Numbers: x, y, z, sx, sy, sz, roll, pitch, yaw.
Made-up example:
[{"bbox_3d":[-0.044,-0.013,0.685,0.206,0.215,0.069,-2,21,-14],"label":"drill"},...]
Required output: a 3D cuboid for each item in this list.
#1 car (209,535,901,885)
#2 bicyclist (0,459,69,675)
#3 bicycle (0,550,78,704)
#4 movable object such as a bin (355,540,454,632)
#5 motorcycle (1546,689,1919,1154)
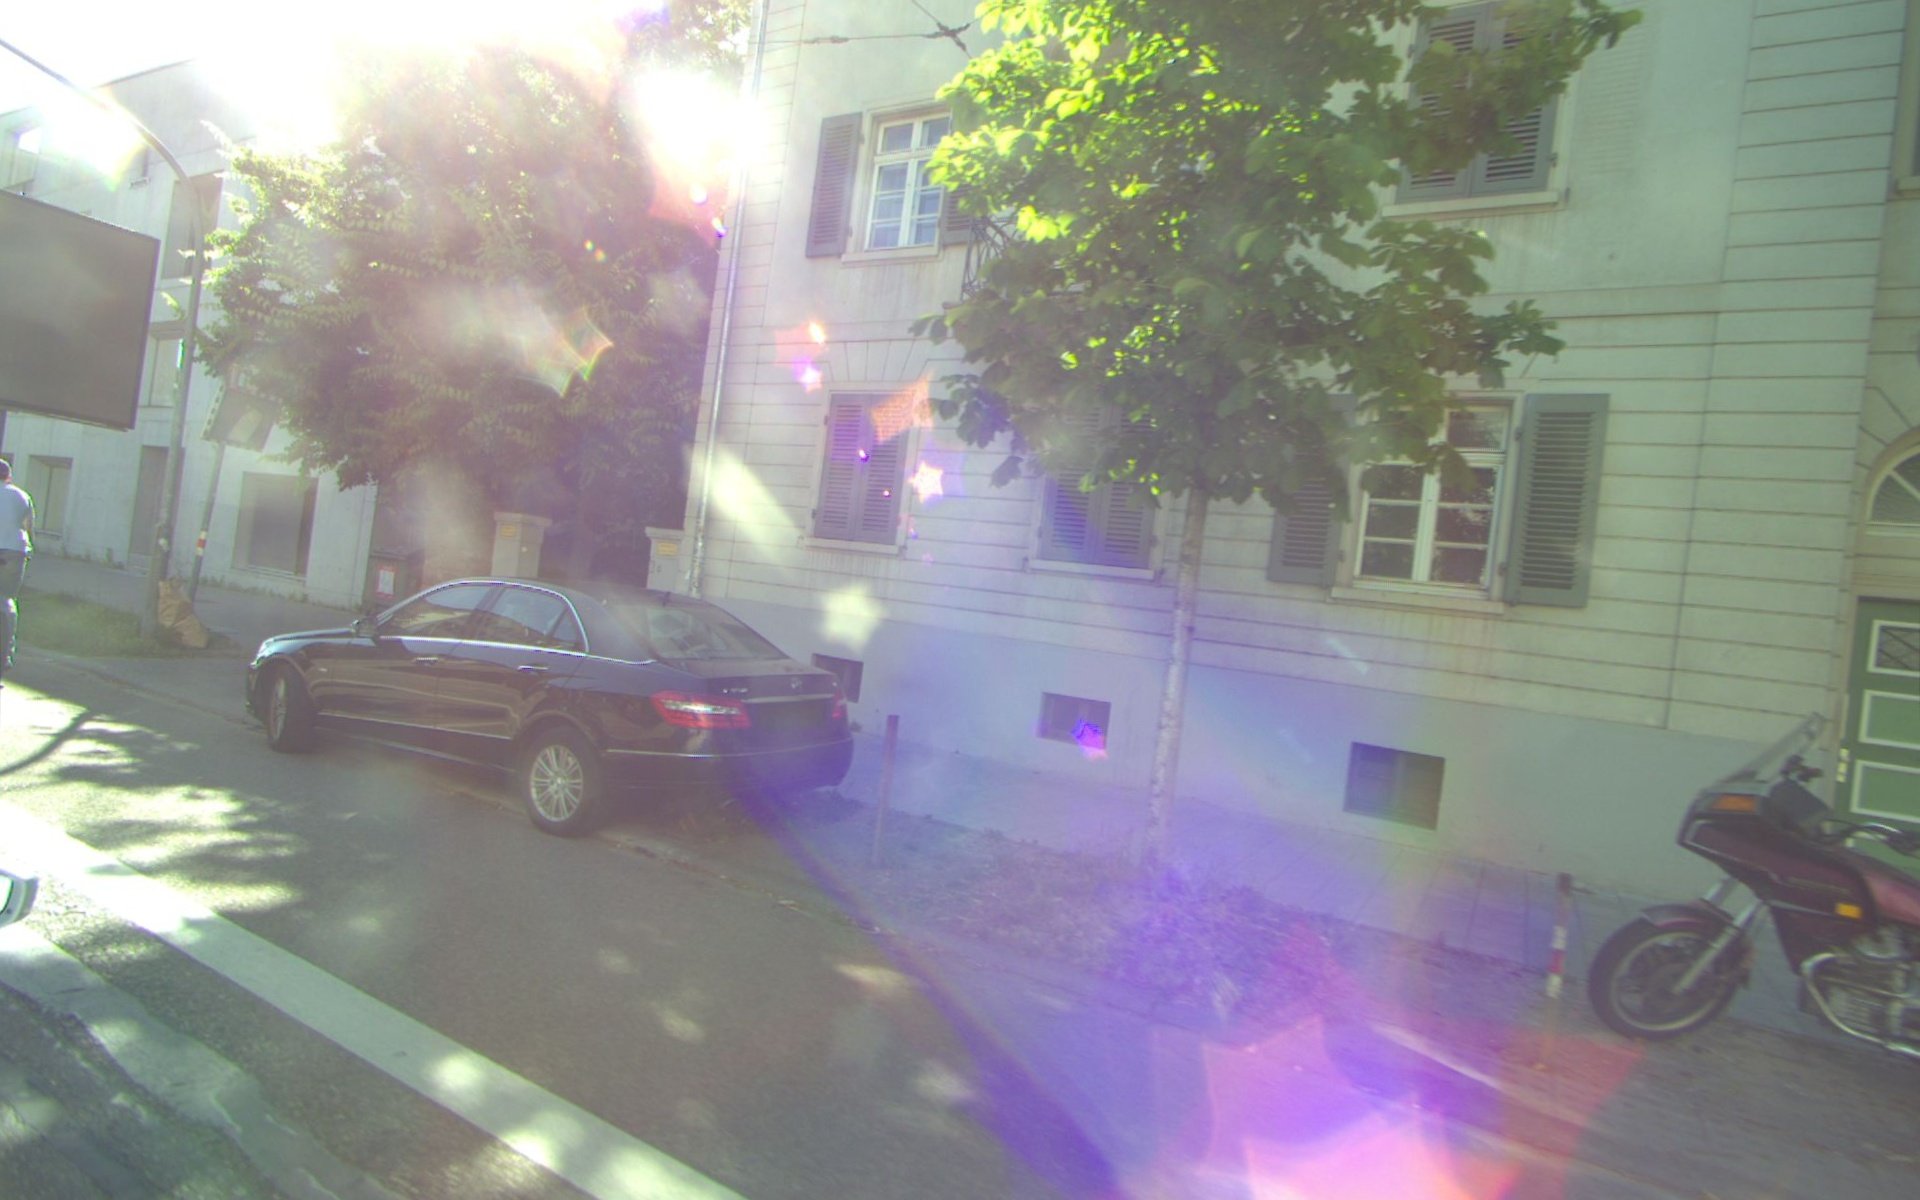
[{"bbox_3d":[-2.984,0.563,7.175,4.734,1.477,1.825,7,0,27],"label":"car"},{"bbox_3d":[-8.111,-0.313,8.281,0.956,1.705,0.740,7,-2,32],"label":"bicyclist"},{"bbox_3d":[-8.189,0.139,8.277,2.076,1.106,0.740,7,-2,32],"label":"bicycle"},{"bbox_3d":[-10.271,-0.261,18.599,1.333,1.480,0.935,7,-1,32],"label":"movable object such as a bin"},{"bbox_3d":[3.906,1.293,3.931,2.635,1.507,0.914,7,1,32],"label":"motorcycle"}]
